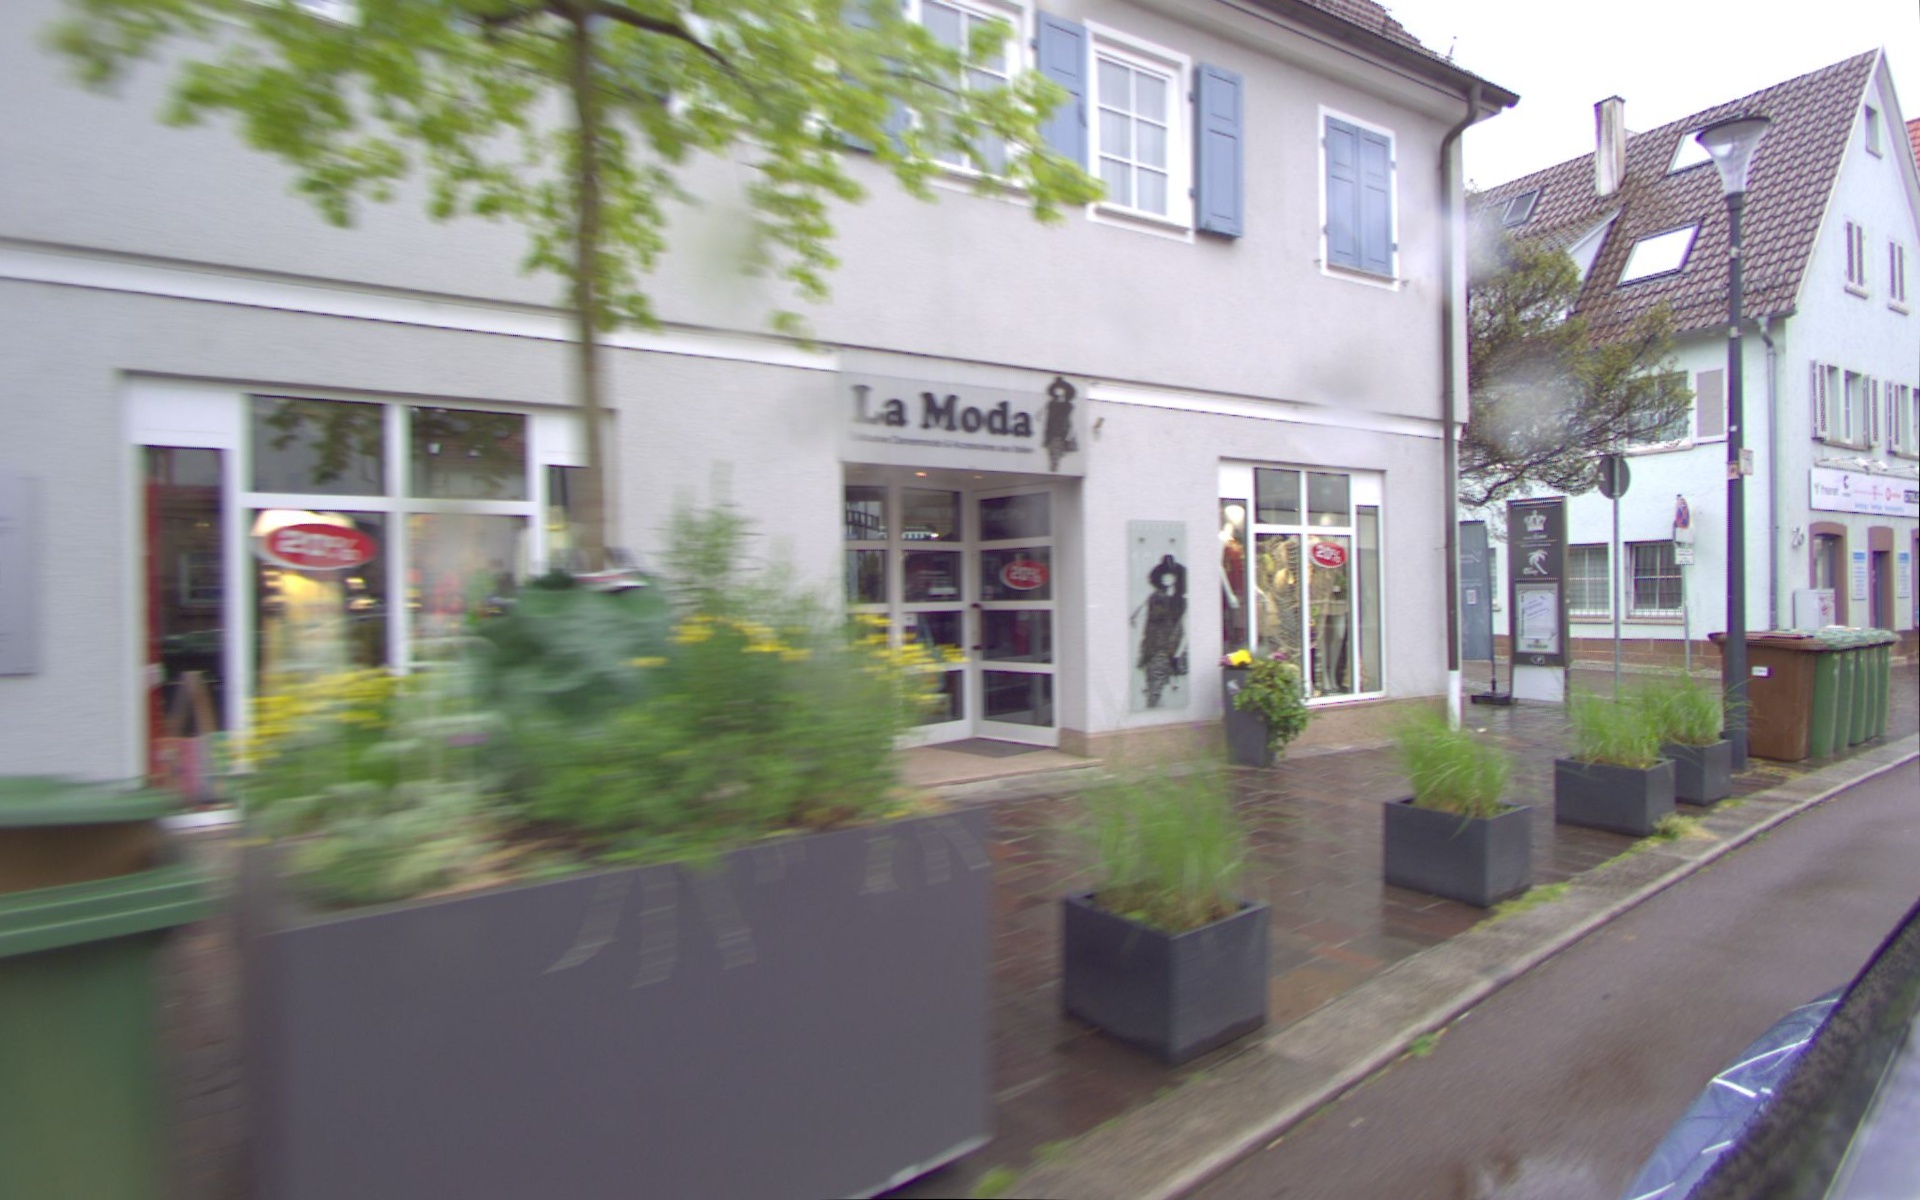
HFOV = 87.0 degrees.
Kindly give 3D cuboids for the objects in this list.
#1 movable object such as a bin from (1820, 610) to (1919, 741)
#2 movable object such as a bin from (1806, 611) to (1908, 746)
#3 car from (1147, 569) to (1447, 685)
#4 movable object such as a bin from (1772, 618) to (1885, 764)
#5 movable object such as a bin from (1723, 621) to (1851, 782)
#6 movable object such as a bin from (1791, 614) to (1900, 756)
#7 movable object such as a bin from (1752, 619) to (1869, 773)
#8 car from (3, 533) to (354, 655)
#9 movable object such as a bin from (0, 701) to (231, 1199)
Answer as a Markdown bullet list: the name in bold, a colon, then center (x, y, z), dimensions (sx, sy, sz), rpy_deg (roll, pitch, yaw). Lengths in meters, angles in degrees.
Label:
- **movable object such as a bin**: center (9.367, 0.748, 10.408), dimensions (0.610, 1.254, 0.660), rpy_deg (-2, 1, -36)
- **movable object such as a bin**: center (8.909, 0.755, 10.059), dimensions (0.532, 1.261, 0.660), rpy_deg (-2, 1, -36)
- **car**: center (5.339, 0.388, 16.517), dimensions (4.283, 1.676, 1.822), rpy_deg (1, 1, 5)
- **movable object such as a bin**: center (8.046, 0.812, 9.379), dimensions (0.554, 1.248, 0.680), rpy_deg (-2, 1, -36)
- **movable object such as a bin**: center (7.075, 0.833, 8.663), dimensions (0.718, 1.256, 0.680), rpy_deg (-2, 1, -36)
- **movable object such as a bin**: center (8.491, 0.786, 9.709), dimensions (0.532, 1.272, 0.680), rpy_deg (-2, 1, -36)
- **movable object such as a bin**: center (7.594, 0.824, 9.041), dimensions (0.554, 1.266, 0.680), rpy_deg (-2, 1, -36)
- **car**: center (-11.005, -0.137, 14.646), dimensions (1.561, 1.496, 3.987), rpy_deg (1, 2, 12)
- **movable object such as a bin**: center (-1.439, 0.782, 1.492), dimensions (0.566, 1.170, 0.545), rpy_deg (-2, 1, -39)
